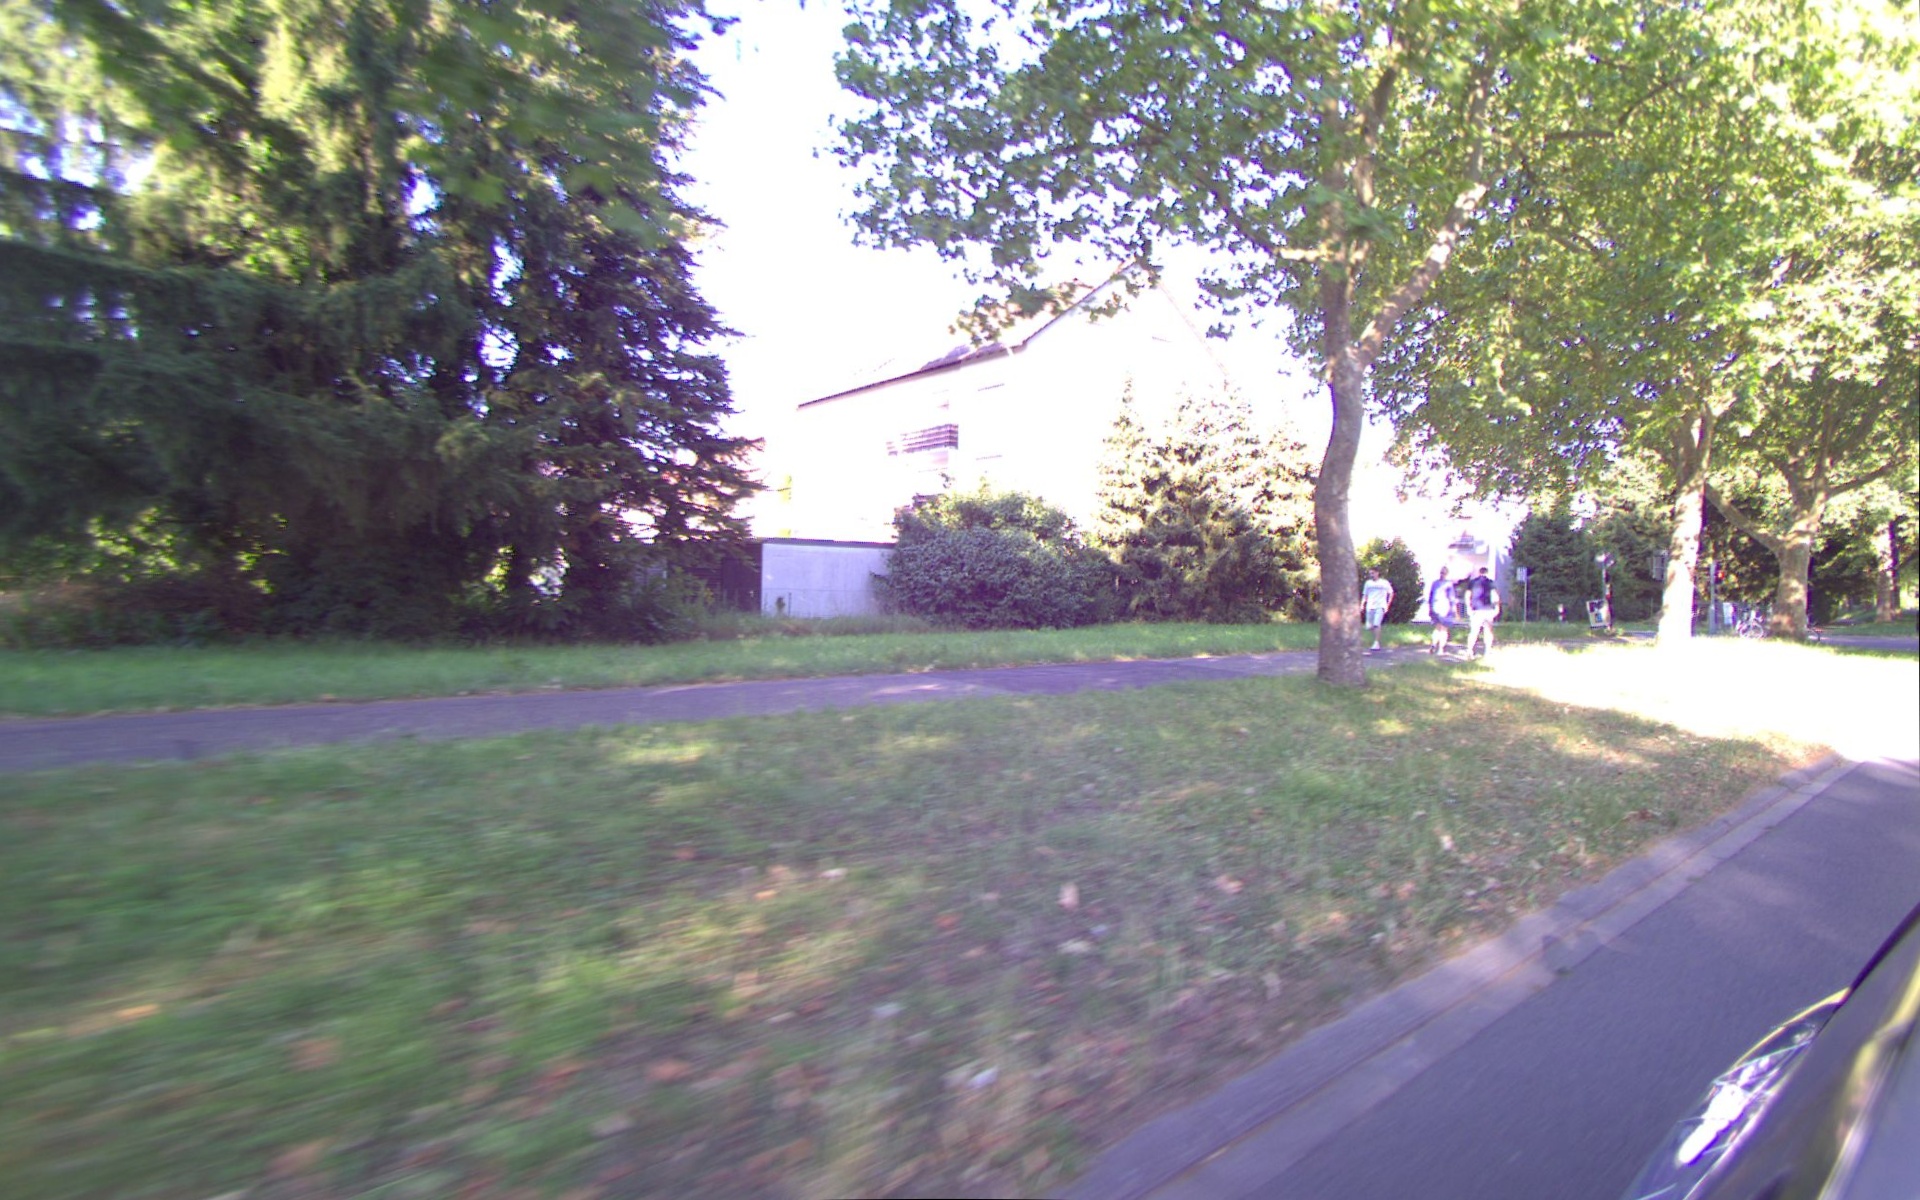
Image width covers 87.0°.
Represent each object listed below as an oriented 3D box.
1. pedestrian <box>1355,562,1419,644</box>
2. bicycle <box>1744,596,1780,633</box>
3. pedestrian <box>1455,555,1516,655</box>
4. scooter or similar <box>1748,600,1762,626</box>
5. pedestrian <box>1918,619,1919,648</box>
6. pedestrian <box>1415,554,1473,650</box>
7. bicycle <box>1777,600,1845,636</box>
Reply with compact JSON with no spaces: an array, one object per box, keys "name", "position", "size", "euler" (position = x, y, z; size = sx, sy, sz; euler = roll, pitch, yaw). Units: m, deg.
[{"name":"pedestrian","position":[8.940,0.060,21.190],"size":[0.919,1.670,0.783],"euler":[1,1,-27]},{"name":"bicycle","position":[25.502,0.454,32.195],"size":[0.442,1.096,1.989],"euler":[4,1,26]},{"name":"pedestrian","position":[10.163,0.084,19.571],"size":[0.773,1.869,0.763],"euler":[1,1,-39]},{"name":"scooter or similar","position":[37.270,0.606,47.461],"size":[0.382,1.211,1.234],"euler":[0,0,45]},{"name":"pedestrian","position":[27.703,0.529,28.696],"size":[0.634,1.740,0.814],"euler":[5,3,39]},{"name":"pedestrian","position":[9.727,0.035,20.337],"size":[0.788,1.870,0.756],"euler":[1,1,-39]},{"name":"bicycle","position":[26.880,0.547,32.000],"size":[0.437,1.048,1.723],"euler":[4,1,-8]}]
